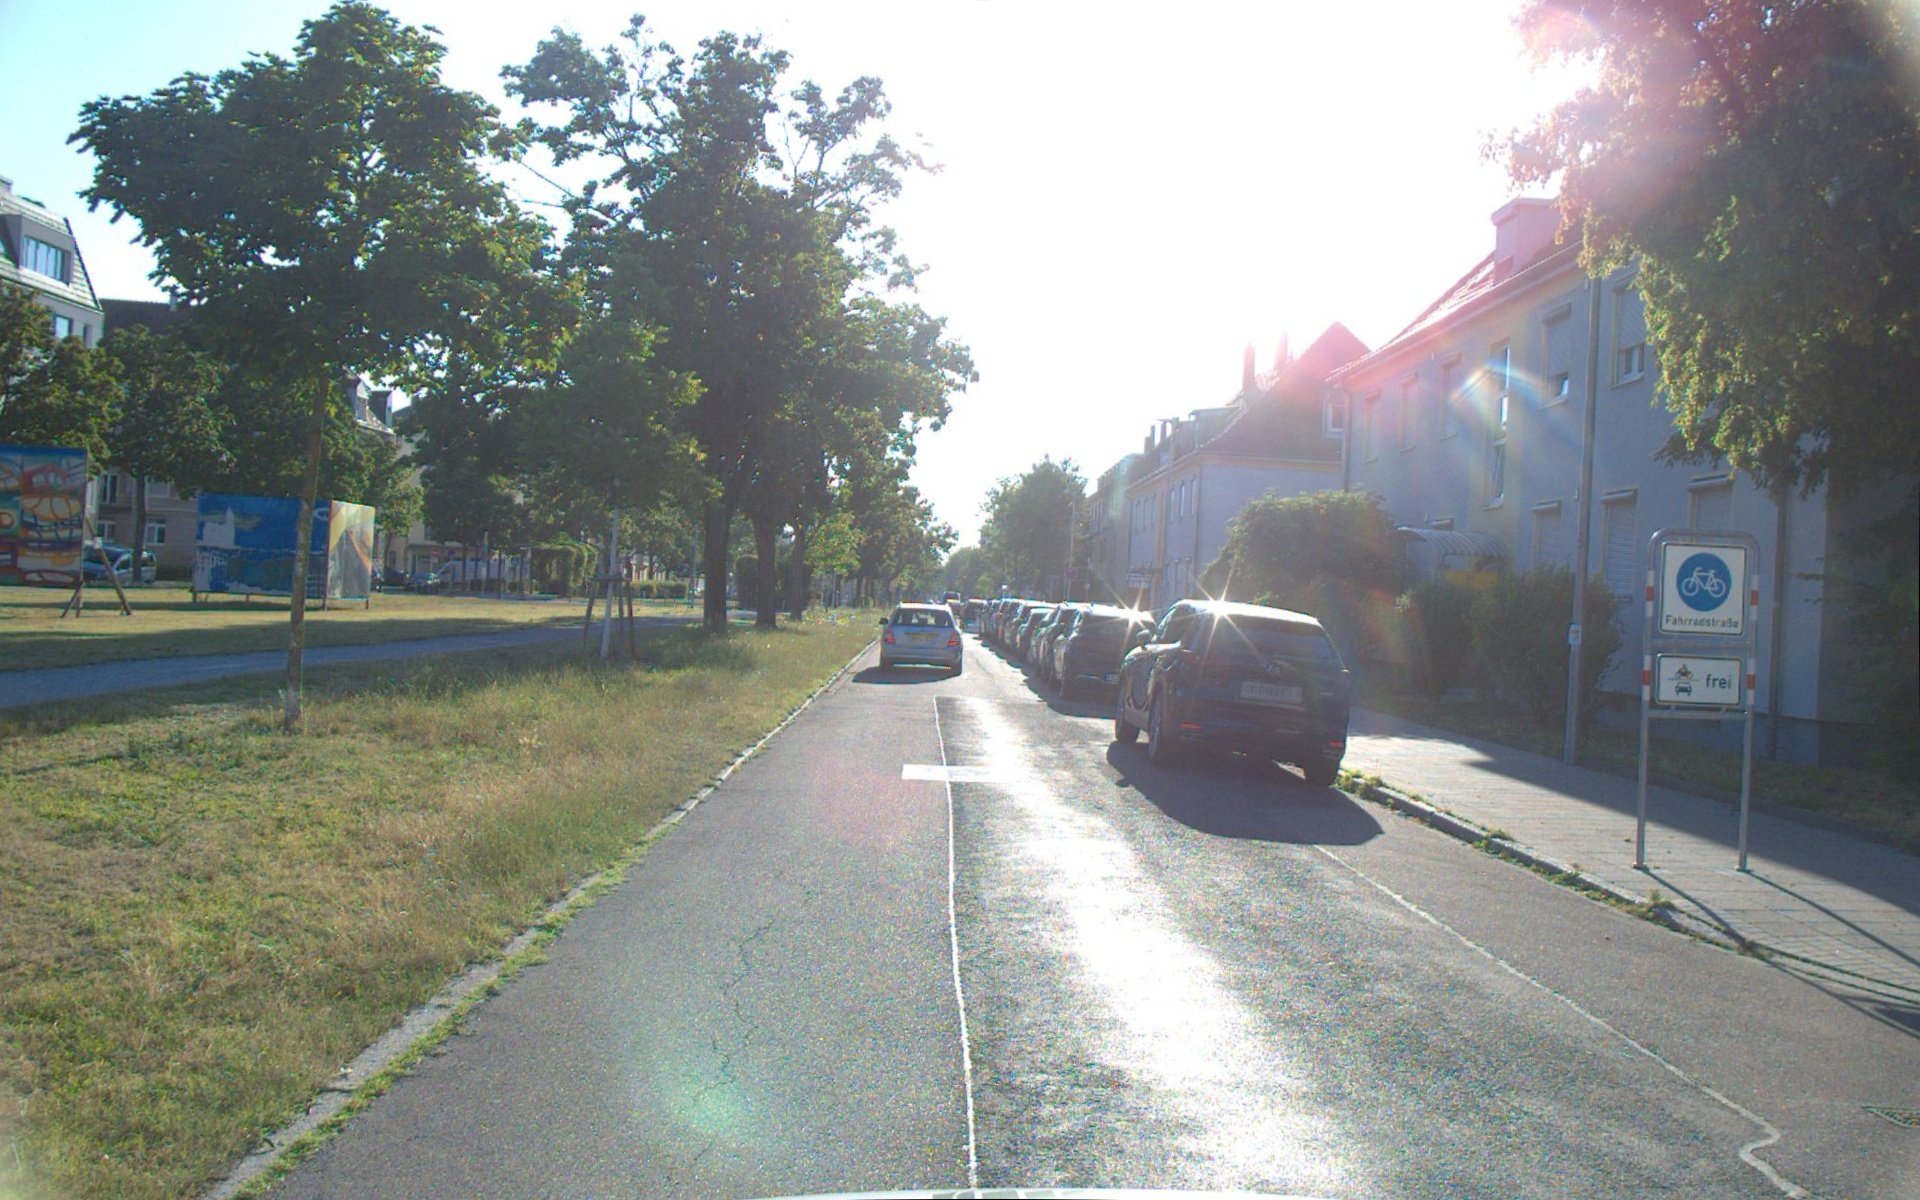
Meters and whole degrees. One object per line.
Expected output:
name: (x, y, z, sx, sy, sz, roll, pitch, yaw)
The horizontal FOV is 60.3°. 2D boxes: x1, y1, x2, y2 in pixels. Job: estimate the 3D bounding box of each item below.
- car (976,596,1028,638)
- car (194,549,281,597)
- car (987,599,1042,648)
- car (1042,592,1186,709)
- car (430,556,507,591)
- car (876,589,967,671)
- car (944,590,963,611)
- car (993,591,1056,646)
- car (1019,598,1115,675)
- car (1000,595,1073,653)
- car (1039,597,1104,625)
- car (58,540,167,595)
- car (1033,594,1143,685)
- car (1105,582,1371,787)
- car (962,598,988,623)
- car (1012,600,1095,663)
car: (1.780, 0.709, 72.160, 1.683, 1.667, 4.560, 5, 0, -4)
car: (-34.361, -1.241, 78.800, 1.953, 2.093, 5.051, -1, -1, -1)
car: (2.000, 0.846, 61.824, 1.741, 1.672, 4.755, 3, 0, -1)
car: (2.668, 0.823, 29.701, 1.895, 1.750, 4.620, 6, 0, -1)
car: (-43.448, -2.363, 146.274, 6.232, 2.767, 1.981, 3, 0, -32)
car: (-0.792, 0.599, 35.466, 1.786, 1.594, 4.000, 2, 0, -1)
car: (-0.709, 0.031, 174.281, 1.948, 2.058, 3.999, 3, 0, -1)
car: (2.166, 0.632, 56.592, 1.730, 1.663, 4.763, 4, -1, -2)
car: (2.575, 0.873, 40.667, 1.694, 1.574, 4.205, 7, -1, -3)
car: (2.300, 0.708, 50.786, 1.691, 1.588, 4.413, 4, 0, -4)
car: (6.809, 0.681, 100.449, 3.810, 1.624, 2.001, -1, -1, 7)
car: (-34.360, -1.294, 67.227, 1.979, 2.036, 5.366, -1, -1, -4)
car: (2.651, 0.777, 35.226, 1.817, 1.686, 4.819, 4, 0, -1)
car: (2.832, 0.815, 18.025, 1.796, 1.761, 5.030, 5, -1, -1)
car: (1.016, 0.757, 116.093, 1.686, 1.625, 3.999, 2, -1, -1)
car: (2.522, 0.832, 45.532, 1.953, 1.487, 4.561, 4, 0, 0)
